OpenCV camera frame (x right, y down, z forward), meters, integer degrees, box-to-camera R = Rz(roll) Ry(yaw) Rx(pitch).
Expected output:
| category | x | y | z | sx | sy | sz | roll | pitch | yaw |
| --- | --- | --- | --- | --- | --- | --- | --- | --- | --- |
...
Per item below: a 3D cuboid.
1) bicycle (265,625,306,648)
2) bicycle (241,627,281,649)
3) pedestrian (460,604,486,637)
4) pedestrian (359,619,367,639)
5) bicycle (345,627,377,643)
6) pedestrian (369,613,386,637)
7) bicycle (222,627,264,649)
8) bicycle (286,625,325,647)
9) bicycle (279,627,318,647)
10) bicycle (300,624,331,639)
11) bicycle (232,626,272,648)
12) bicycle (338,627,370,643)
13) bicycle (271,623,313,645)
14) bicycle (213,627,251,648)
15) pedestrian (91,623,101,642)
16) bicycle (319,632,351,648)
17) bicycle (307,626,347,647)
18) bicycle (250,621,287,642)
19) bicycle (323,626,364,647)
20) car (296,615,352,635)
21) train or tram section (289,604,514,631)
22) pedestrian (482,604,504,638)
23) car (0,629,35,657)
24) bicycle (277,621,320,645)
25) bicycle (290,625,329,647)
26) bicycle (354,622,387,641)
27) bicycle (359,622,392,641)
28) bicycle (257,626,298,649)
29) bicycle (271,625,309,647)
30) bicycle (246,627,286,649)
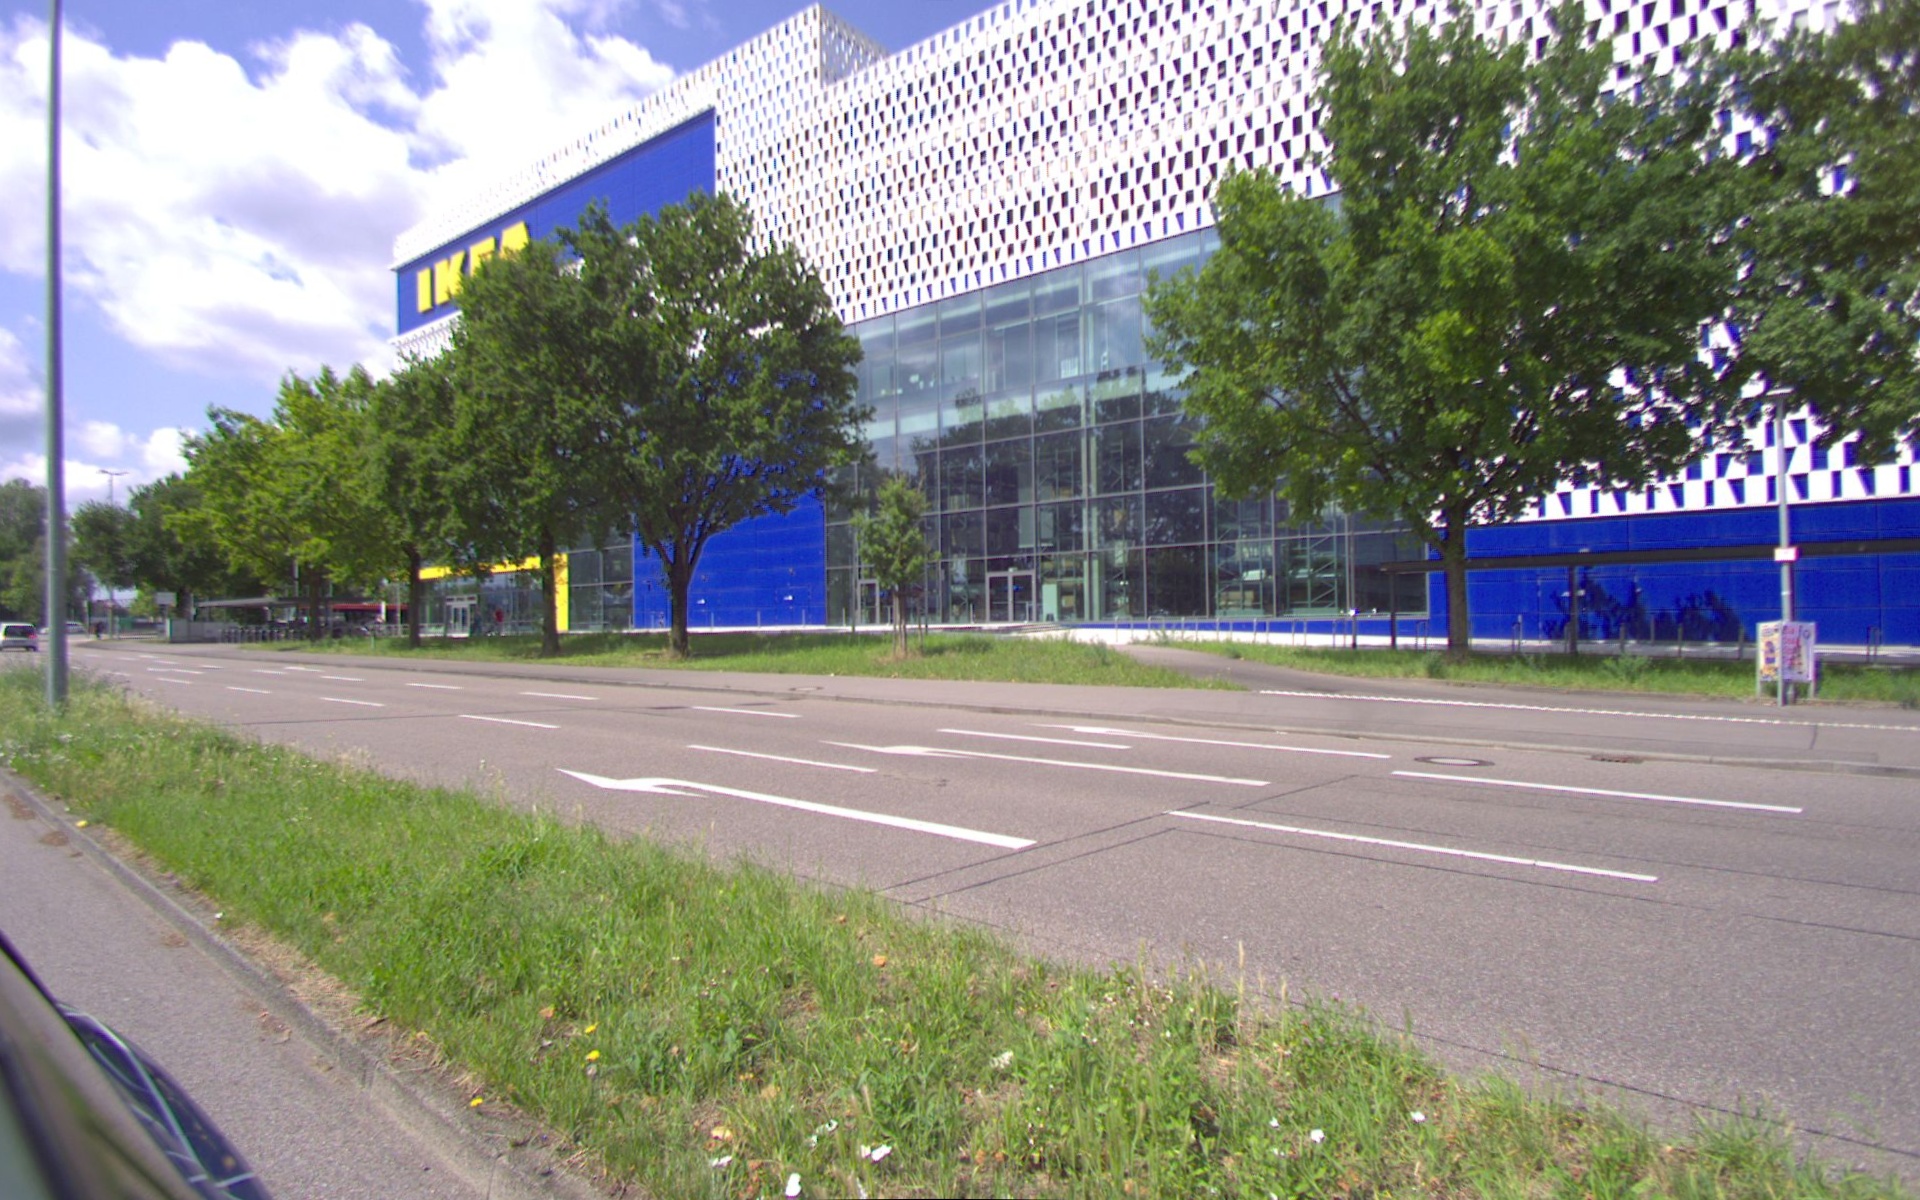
| category | x | y | z | sx | sy | sz | roll | pitch | yaw |
| --- | --- | --- | --- | --- | --- | --- | --- | --- | --- |
| bicycle | -39.175 | 2.111 | 58.783 | 0.629 | 1.282 | 1.906 | -3 | -1 | 39 |
| bicycle | -42.794 | 2.296 | 61.947 | 0.629 | 1.282 | 1.906 | -3 | -1 | 39 |
| pedestrian | -26.056 | 1.093 | 54.155 | 0.886 | 1.715 | 0.941 | -1 | 0 | 39 |
| pedestrian | -52.434 | 2.566 | 88.920 | 0.515 | 1.716 | 0.405 | -2 | -1 | 33 |
| bicycle | -42.516 | 2.476 | 71.881 | 0.528 | 1.078 | 1.917 | -1 | -1 | 35 |
| pedestrian | -43.047 | 1.843 | 74.807 | 0.710 | 1.719 | 0.887 | -1 | -1 | 38 |
| bicycle | -44.897 | 2.388 | 63.394 | 0.629 | 1.282 | 2.069 | -3 | -1 | 39 |
| bicycle | -40.660 | 2.240 | 62.908 | 0.629 | 1.282 | 1.906 | -3 | -1 | 39 |
| bicycle | -41.483 | 2.304 | 63.478 | 0.629 | 1.192 | 1.906 | -3 | -1 | 39 |
| bicycle | -48.219 | 2.333 | 75.779 | 0.527 | 1.078 | 1.918 | -1 | -1 | 33 |
| bicycle | -43.844 | 2.312 | 62.697 | 0.629 | 1.282 | 1.906 | -3 | -1 | 39 |
| bicycle | -43.462 | 2.519 | 72.581 | 0.519 | 1.098 | 1.913 | -3 | -1 | 35 |
| bicycle | -38.286 | 1.927 | 58.060 | 0.629 | 1.192 | 1.906 | -3 | -1 | 39 |
| bicycle | -46.705 | 2.399 | 64.945 | 0.629 | 1.282 | 1.906 | -3 | -1 | 39 |
| pedestrian | -72.165 | 2.712 | 84.533 | 0.616 | 1.501 | 0.435 | -1 | -1 | 23 |
| bicycle | -45.758 | 2.923 | 74.083 | 0.528 | 1.078 | 1.917 | -1 | -1 | 35 |
| bicycle | -37.801 | 2.191 | 60.419 | 0.629 | 1.188 | 1.906 | -3 | -1 | 39 |
| bicycle | -45.453 | 2.055 | 66.535 | 0.629 | 1.282 | 1.906 | -3 | -1 | 39 |
| bicycle | -36.064 | 2.130 | 59.223 | 0.629 | 1.193 | 1.906 | -3 | -1 | 39 |
| car | -69.143 | 2.739 | 110.116 | 1.996 | 2.029 | 4.764 | -3 | -1 | 36 |
| train or tram section | -68.738 | 2.338 | 126.236 | 4.523 | 3.055 | 24.809 | -2 | -3 | 37 |
| pedestrian | -25.558 | 1.153 | 55.417 | 0.886 | 1.836 | 0.746 | -1 | 0 | 39 |
| car | -50.594 | 2.257 | 53.810 | 3.668 | 1.440 | 1.626 | -1 | -2 | 41 |
| bicycle | -37.469 | 1.861 | 57.334 | 0.629 | 1.282 | 1.906 | -3 | -1 | 39 |
| bicycle | -39.969 | 2.200 | 62.159 | 0.629 | 1.282 | 1.906 | -3 | -1 | 39 |
| bicycle | -41.310 | 2.202 | 70.939 | 0.528 | 1.219 | 1.917 | -1 | -1 | 35 |
| bicycle | -40.697 | 2.199 | 70.526 | 0.596 | 1.253 | 1.928 | -1 | -1 | 35 |
| bicycle | -40.156 | 2.178 | 59.578 | 0.629 | 1.282 | 1.906 | -3 | -1 | 39 |
| bicycle | -42.559 | 2.275 | 64.333 | 0.629 | 1.282 | 1.906 | -3 | -1 | 39 |
| bicycle | -41.977 | 2.277 | 61.235 | 0.629 | 1.282 | 1.906 | -3 | -1 | 39 |
